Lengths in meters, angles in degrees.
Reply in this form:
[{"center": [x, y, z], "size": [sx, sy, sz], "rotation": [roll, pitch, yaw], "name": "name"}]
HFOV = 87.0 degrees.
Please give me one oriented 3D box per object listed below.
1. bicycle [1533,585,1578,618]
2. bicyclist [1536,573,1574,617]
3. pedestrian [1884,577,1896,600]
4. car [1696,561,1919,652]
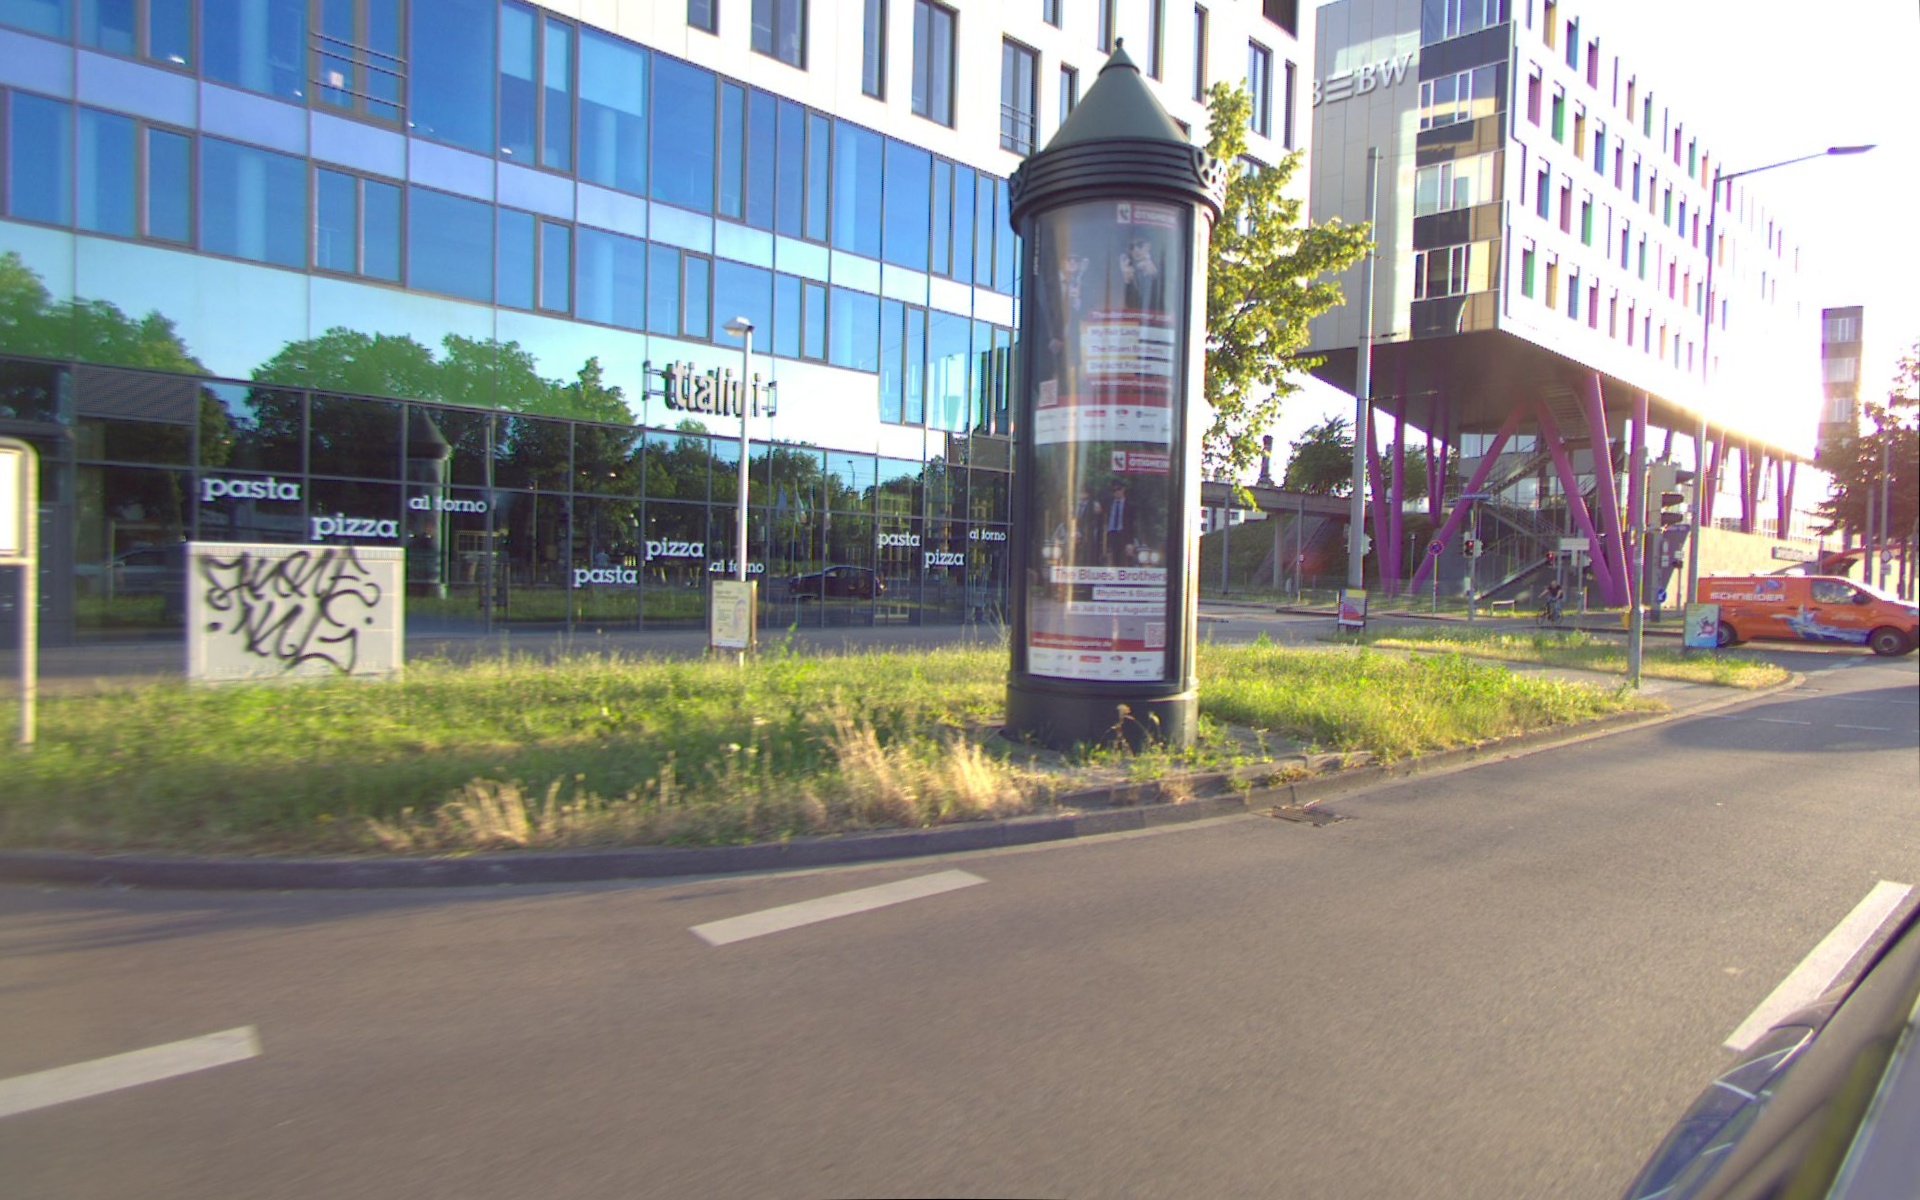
[{"center": [23.109, 0.032, 39.252], "size": [2.071, 1.222, 0.743], "rotation": [0, 2, -37], "name": "bicycle"}, {"center": [23.060, -0.214, 39.216], "size": [1.264, 1.653, 0.807], "rotation": [0, 2, -38], "name": "bicyclist"}, {"center": [85.382, -1.035, 92.872], "size": [0.798, 2.038, 0.618], "rotation": [0, 3, -40], "name": "pedestrian"}, {"center": [21.400, 0.078, 25.016], "size": [1.898, 2.015, 4.818], "rotation": [-1, 3, -39], "name": "car"}]
